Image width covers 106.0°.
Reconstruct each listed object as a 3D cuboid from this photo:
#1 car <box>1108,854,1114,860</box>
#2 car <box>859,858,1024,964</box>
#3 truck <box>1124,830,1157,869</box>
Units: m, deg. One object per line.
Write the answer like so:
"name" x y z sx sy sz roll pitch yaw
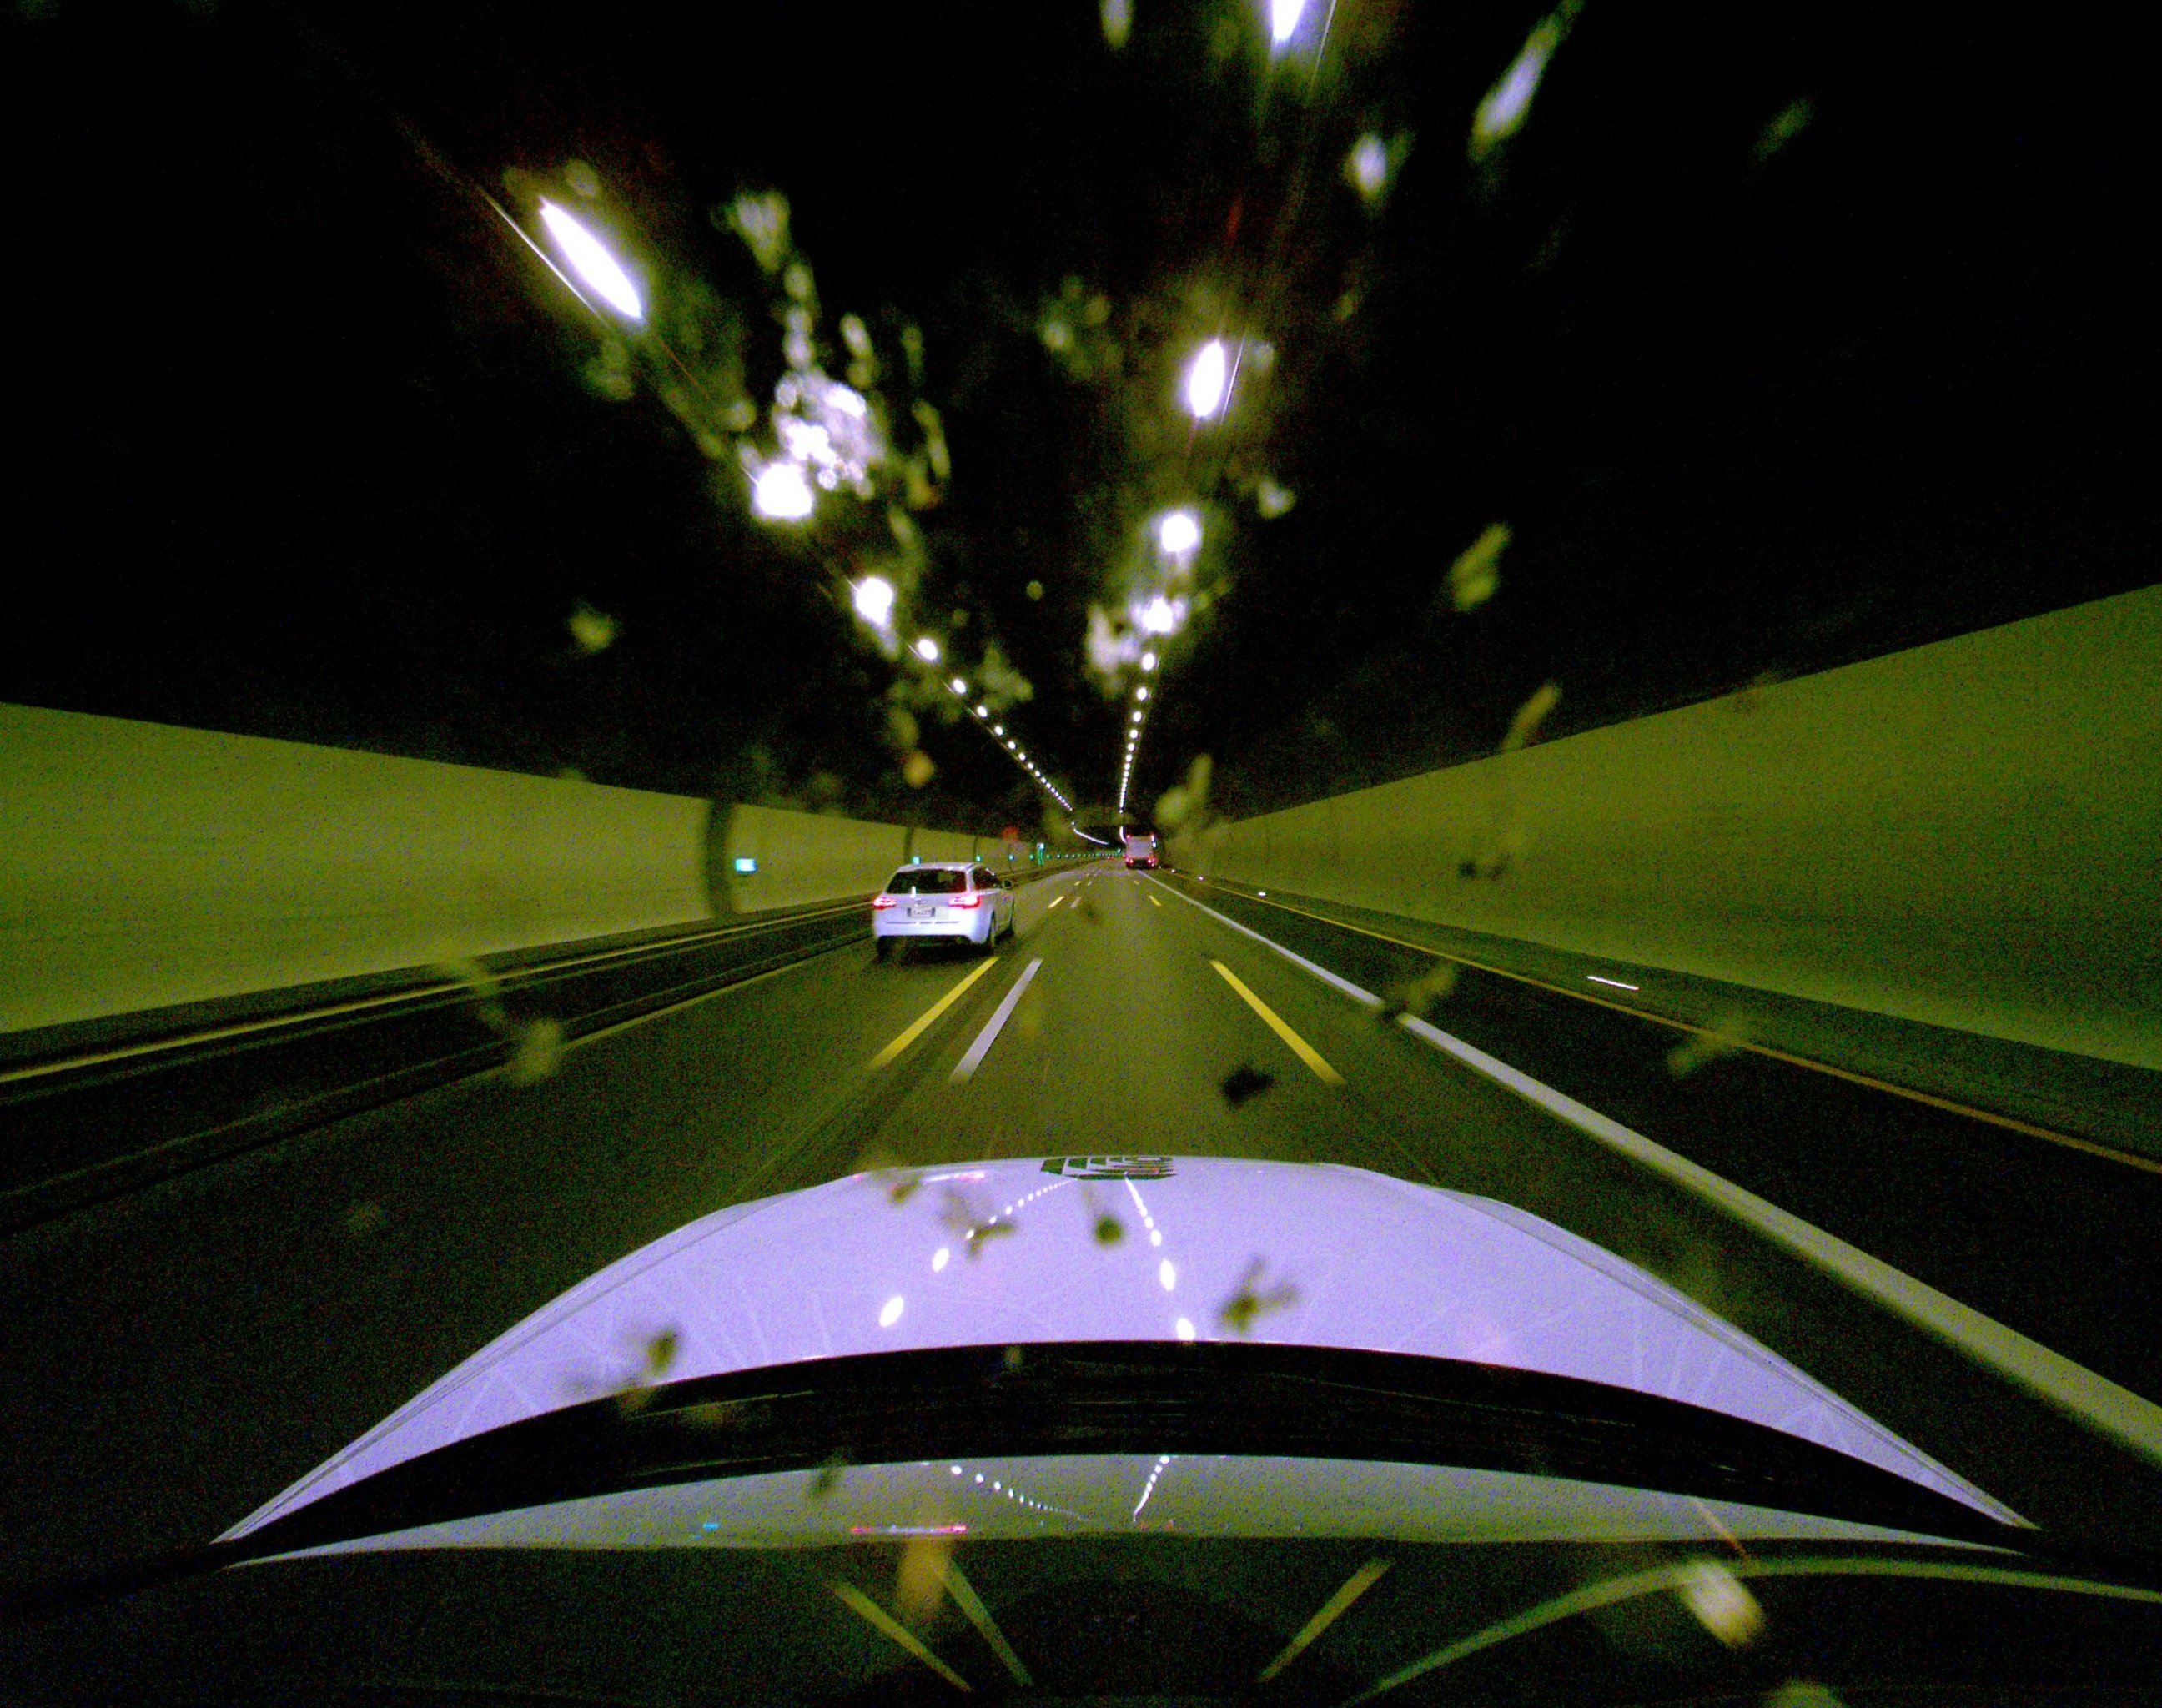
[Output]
"car" 8.801 0.933 236.601 1.752 1.461 4.121 -3 0 2
"car" -2.183 0.837 14.217 1.896 1.485 4.945 -1 0 1
"truck" 6.320 -0.386 88.344 3.080 3.918 10.373 -3 -1 2
